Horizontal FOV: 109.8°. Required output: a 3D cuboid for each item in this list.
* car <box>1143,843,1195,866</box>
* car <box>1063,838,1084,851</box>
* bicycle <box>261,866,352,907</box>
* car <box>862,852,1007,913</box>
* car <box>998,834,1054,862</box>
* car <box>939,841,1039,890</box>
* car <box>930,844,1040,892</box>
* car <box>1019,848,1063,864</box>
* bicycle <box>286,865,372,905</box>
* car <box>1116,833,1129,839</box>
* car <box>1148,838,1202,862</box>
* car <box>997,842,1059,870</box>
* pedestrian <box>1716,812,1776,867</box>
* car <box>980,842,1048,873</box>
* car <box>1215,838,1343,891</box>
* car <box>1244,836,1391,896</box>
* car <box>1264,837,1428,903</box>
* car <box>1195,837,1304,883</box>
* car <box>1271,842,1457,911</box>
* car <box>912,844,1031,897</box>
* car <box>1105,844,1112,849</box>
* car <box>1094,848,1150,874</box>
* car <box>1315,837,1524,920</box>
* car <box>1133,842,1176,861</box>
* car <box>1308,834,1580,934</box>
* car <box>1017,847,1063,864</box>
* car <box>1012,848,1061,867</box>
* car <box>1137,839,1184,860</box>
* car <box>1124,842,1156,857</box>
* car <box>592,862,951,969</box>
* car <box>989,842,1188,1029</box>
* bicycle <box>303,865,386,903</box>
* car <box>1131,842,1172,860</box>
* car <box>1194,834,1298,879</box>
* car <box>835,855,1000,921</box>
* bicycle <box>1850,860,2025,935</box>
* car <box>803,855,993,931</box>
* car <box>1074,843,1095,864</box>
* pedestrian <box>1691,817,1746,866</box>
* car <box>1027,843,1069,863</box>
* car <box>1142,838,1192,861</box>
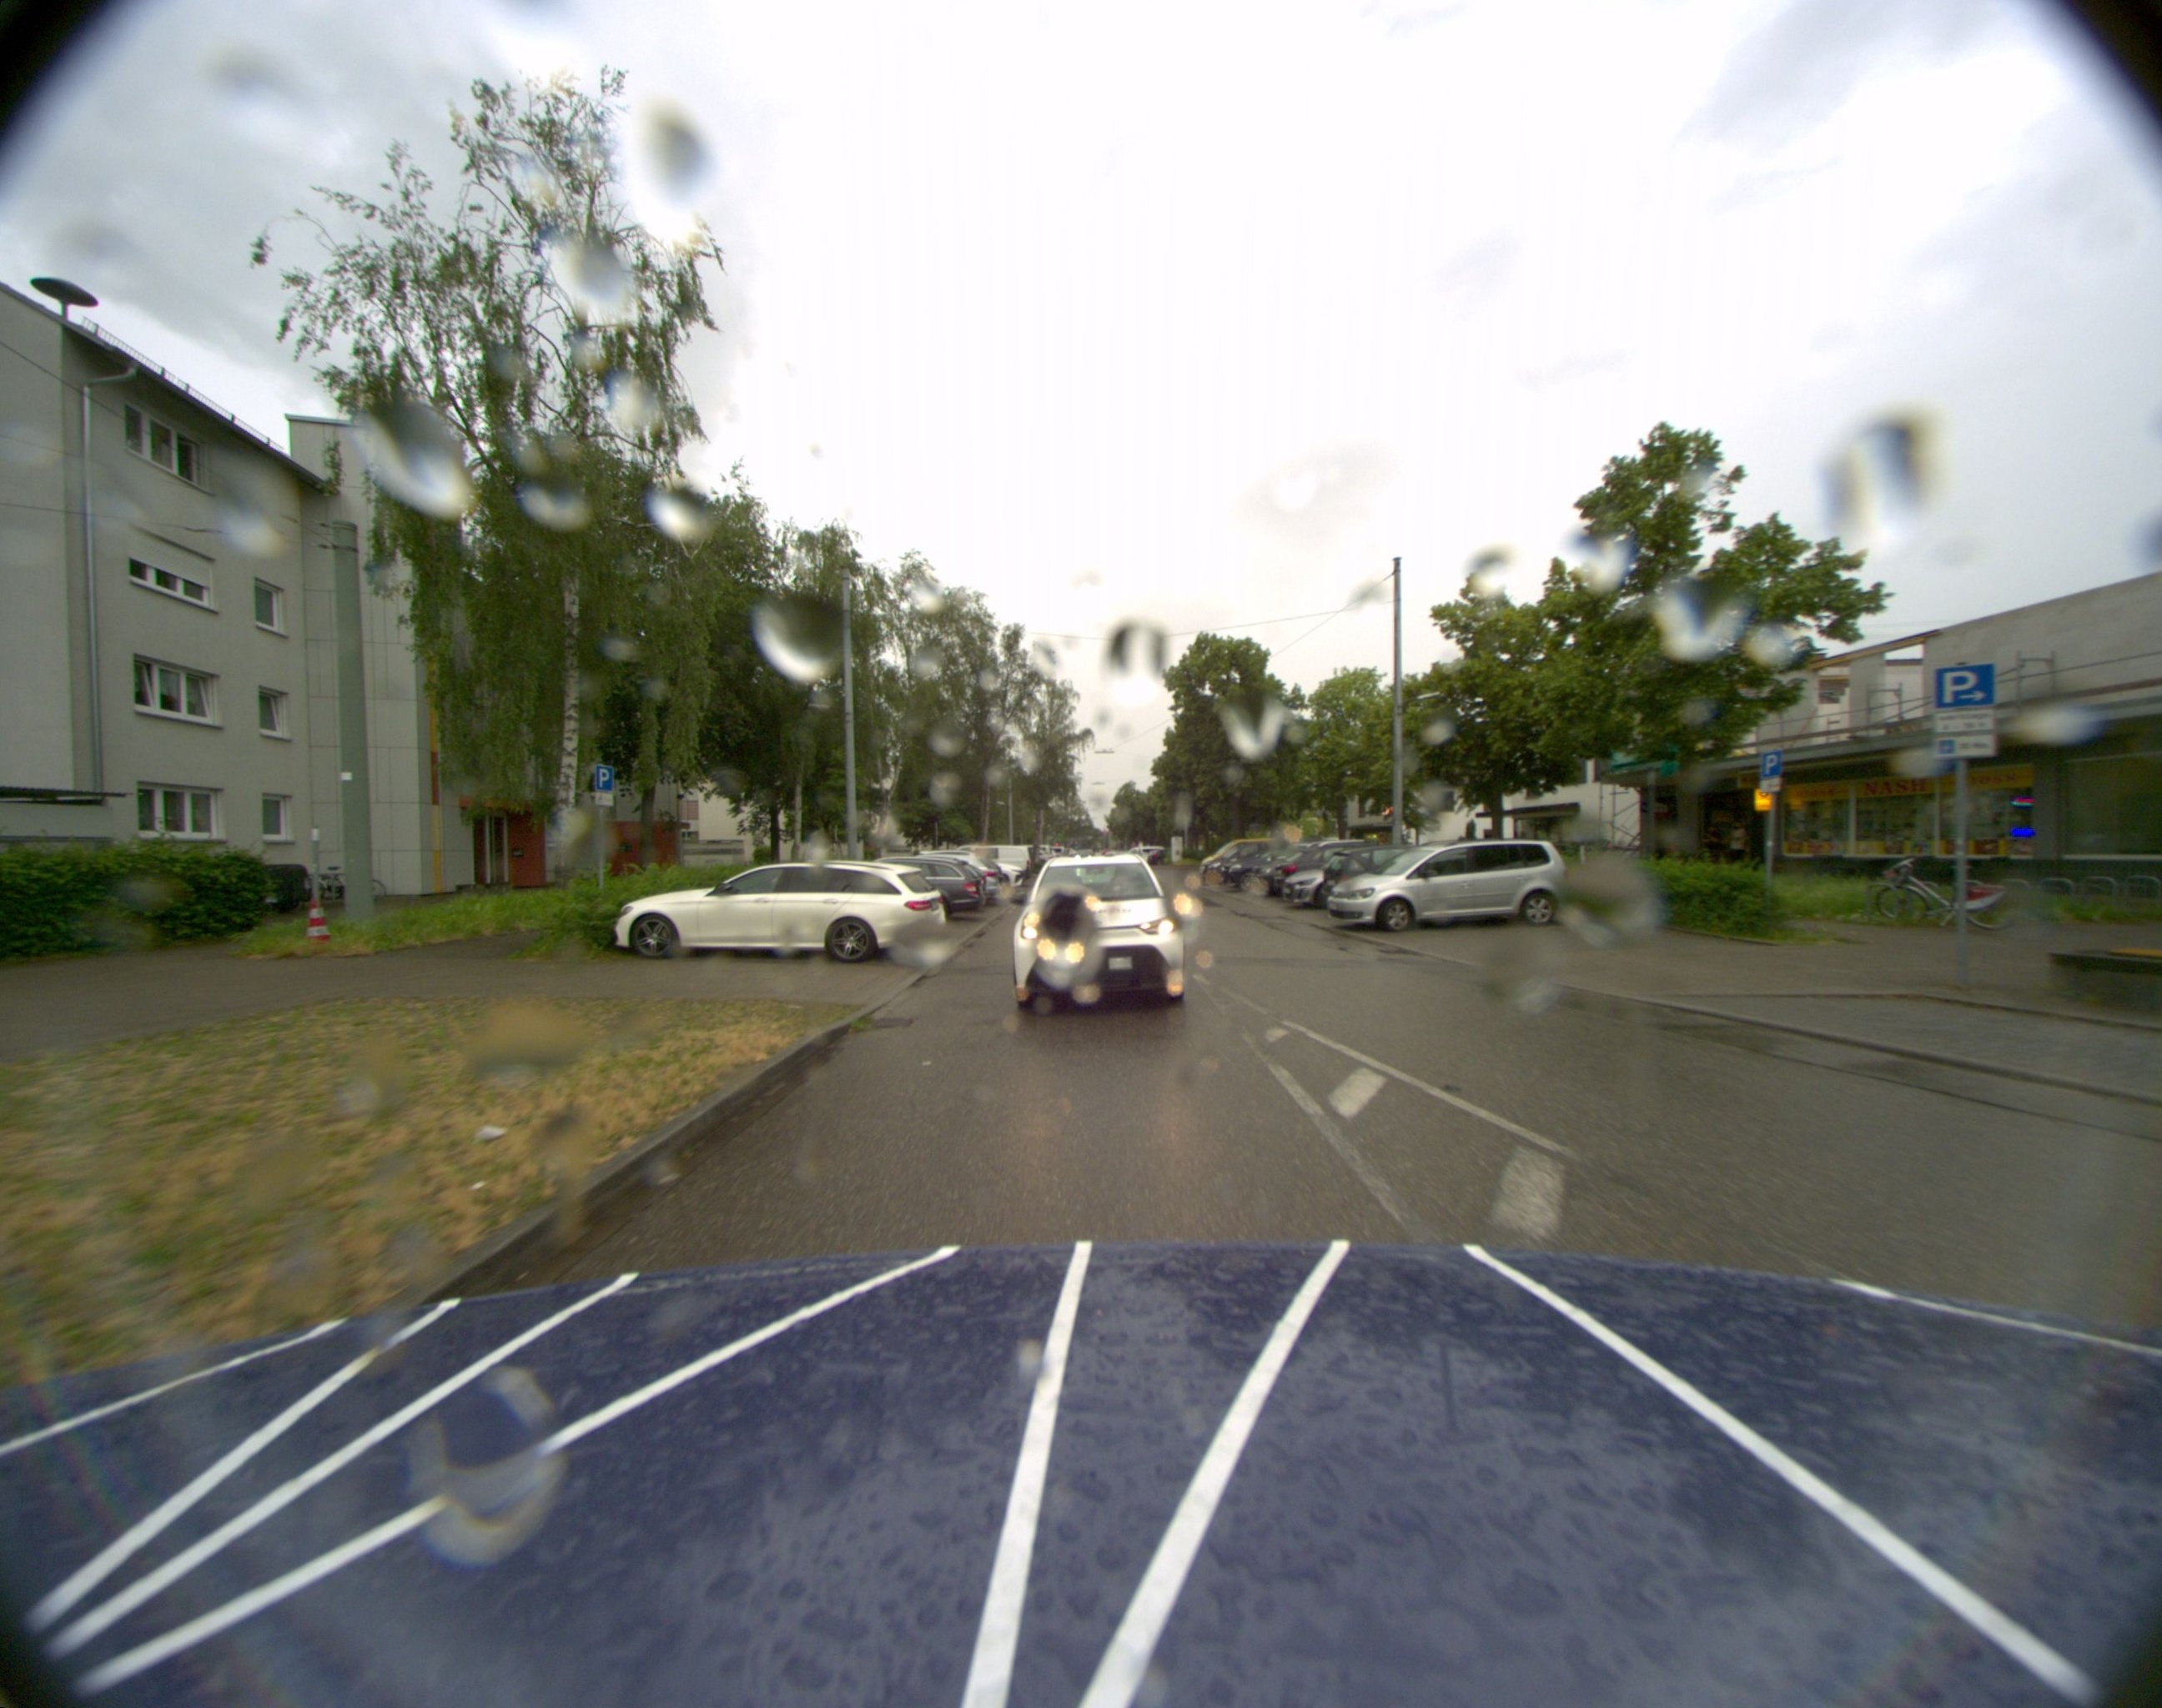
[{"bbox_3d":[8.193,-0.002,70.841,4.546,1.932,1.898,-2,1,-1],"label":"car"},{"bbox_3d":[-1.748,-2.183,173.944,4.546,2.929,1.898,-2,1,-1],"label":"car"},{"bbox_3d":[-19.056,0.786,18.715,1.477,0.946,0.532,-2,1,-14],"label":"bicycle"},{"bbox_3d":[-4.390,0.843,23.224,3.996,1.577,1.723,-3,1,2],"label":"car"},{"bbox_3d":[-4.474,-0.477,62.690,4.443,2.050,1.722,-3,1,-3],"label":"car"},{"bbox_3d":[-4.294,0.516,35.996,4.443,2.050,1.722,-3,1,-3],"label":"car"},{"bbox_3d":[-4.142,0.594,33.110,4.441,1.835,1.723,-3,1,2],"label":"car"},{"bbox_3d":[-4.201,0.203,81.009,4.546,1.574,1.898,-2,1,-1],"label":"car"},{"bbox_3d":[-19.272,0.787,19.495,1.477,0.946,0.532,-2,1,-14],"label":"bicycle"},{"bbox_3d":[13.168,-5.616,240.489,3.997,1.688,2.000,-3,1,0],"label":"car"},{"bbox_3d":[8.370,-0.374,68.088,4.546,1.932,1.898,-2,1,-1],"label":"car"},{"bbox_3d":[-4.055,0.135,58.360,4.546,1.932,1.898,-2,1,-1],"label":"car"},{"bbox_3d":[21.061,-0.454,24.092,1.078,1.704,0.948,-1,2,11],"label":"pedestrian"},{"bbox_3d":[-4.640,0.248,53.002,4.546,1.932,1.898,-2,1,-1],"label":"car"},{"bbox_3d":[7.102,0.373,27.501,4.088,1.699,1.898,-2,1,-1],"label":"car"},{"bbox_3d":[7.520,0.371,24.449,4.088,1.699,1.898,-2,1,-1],"label":"car"},{"bbox_3d":[7.686,0.441,22.319,4.088,1.699,1.898,-2,1,-1],"label":"car"},{"bbox_3d":[7.352,0.249,33.417,4.303,1.799,1.898,-2,1,-1],"label":"car"},{"bbox_3d":[7.332,0.561,20.000,4.088,1.562,2.000,-2,1,-1],"label":"car"},{"bbox_3d":[-4.372,0.641,30.726,4.441,1.835,1.723,-3,1,2],"label":"car"},{"bbox_3d":[7.931,-2.139,218.745,1.998,1.320,3.999,-3,1,1],"label":"car"},{"bbox_3d":[2.812,0.463,53.075,1.966,1.545,3.989,-4,3,-31],"label":"car"},{"bbox_3d":[7.647,0.527,17.432,3.945,1.664,1.793,-2,1,-1],"label":"car"},{"bbox_3d":[8.232,-0.305,85.515,4.546,1.932,1.898,-2,1,0],"label":"car"},{"bbox_3d":[6.930,0.541,14.864,4.335,1.664,2.000,-2,1,-1],"label":"car"},{"bbox_3d":[-4.131,0.121,77.092,4.546,1.574,1.898,-2,1,-1],"label":"car"},{"bbox_3d":[-4.310,0.327,73.895,4.546,1.574,1.898,-2,1,-1],"label":"car"},{"bbox_3d":[8.163,-0.501,78.228,4.546,1.932,1.898,-2,1,-1],"label":"car"},{"bbox_3d":[8.594,-0.686,111.196,4.546,1.932,1.898,-2,1,-1],"label":"car"},{"bbox_3d":[-4.653,0.896,11.973,4.838,1.449,2.000,1,1,1],"label":"car"},{"bbox_3d":[0.178,0.764,8.581,1.719,1.614,3.716,-2,-1,4],"label":"car"},{"bbox_3d":[-19.439,0.785,20.087,1.477,0.946,0.532,-2,1,-14],"label":"bicycle"},{"bbox_3d":[8.129,-0.337,88.124,4.546,1.932,1.898,-2,1,-1],"label":"car"},{"bbox_3d":[7.860,0.110,36.495,4.546,1.932,1.898,-2,1,-1],"label":"car"},{"bbox_3d":[-4.335,0.885,20.589,3.996,1.477,1.723,-3,1,2],"label":"car"},{"bbox_3d":[13.483,0.651,12.037,0.594,1.066,1.748,-1,1,-17],"label":"bicycle"},{"bbox_3d":[-4.238,0.884,18.027,3.996,1.477,1.723,-3,1,2],"label":"car"},{"bbox_3d":[0.361,-0.052,78.113,1.999,2.002,3.999,-3,1,-1],"label":"car"},{"bbox_3d":[21.376,-0.421,25.497,1.078,1.575,0.948,-1,2,11],"label":"pedestrian"},{"bbox_3d":[-3.659,-0.103,84.529,4.546,2.013,1.898,-2,1,-1],"label":"car"},{"bbox_3d":[8.253,-0.440,73.377,4.546,1.932,1.898,-2,1,-1],"label":"car"}]
